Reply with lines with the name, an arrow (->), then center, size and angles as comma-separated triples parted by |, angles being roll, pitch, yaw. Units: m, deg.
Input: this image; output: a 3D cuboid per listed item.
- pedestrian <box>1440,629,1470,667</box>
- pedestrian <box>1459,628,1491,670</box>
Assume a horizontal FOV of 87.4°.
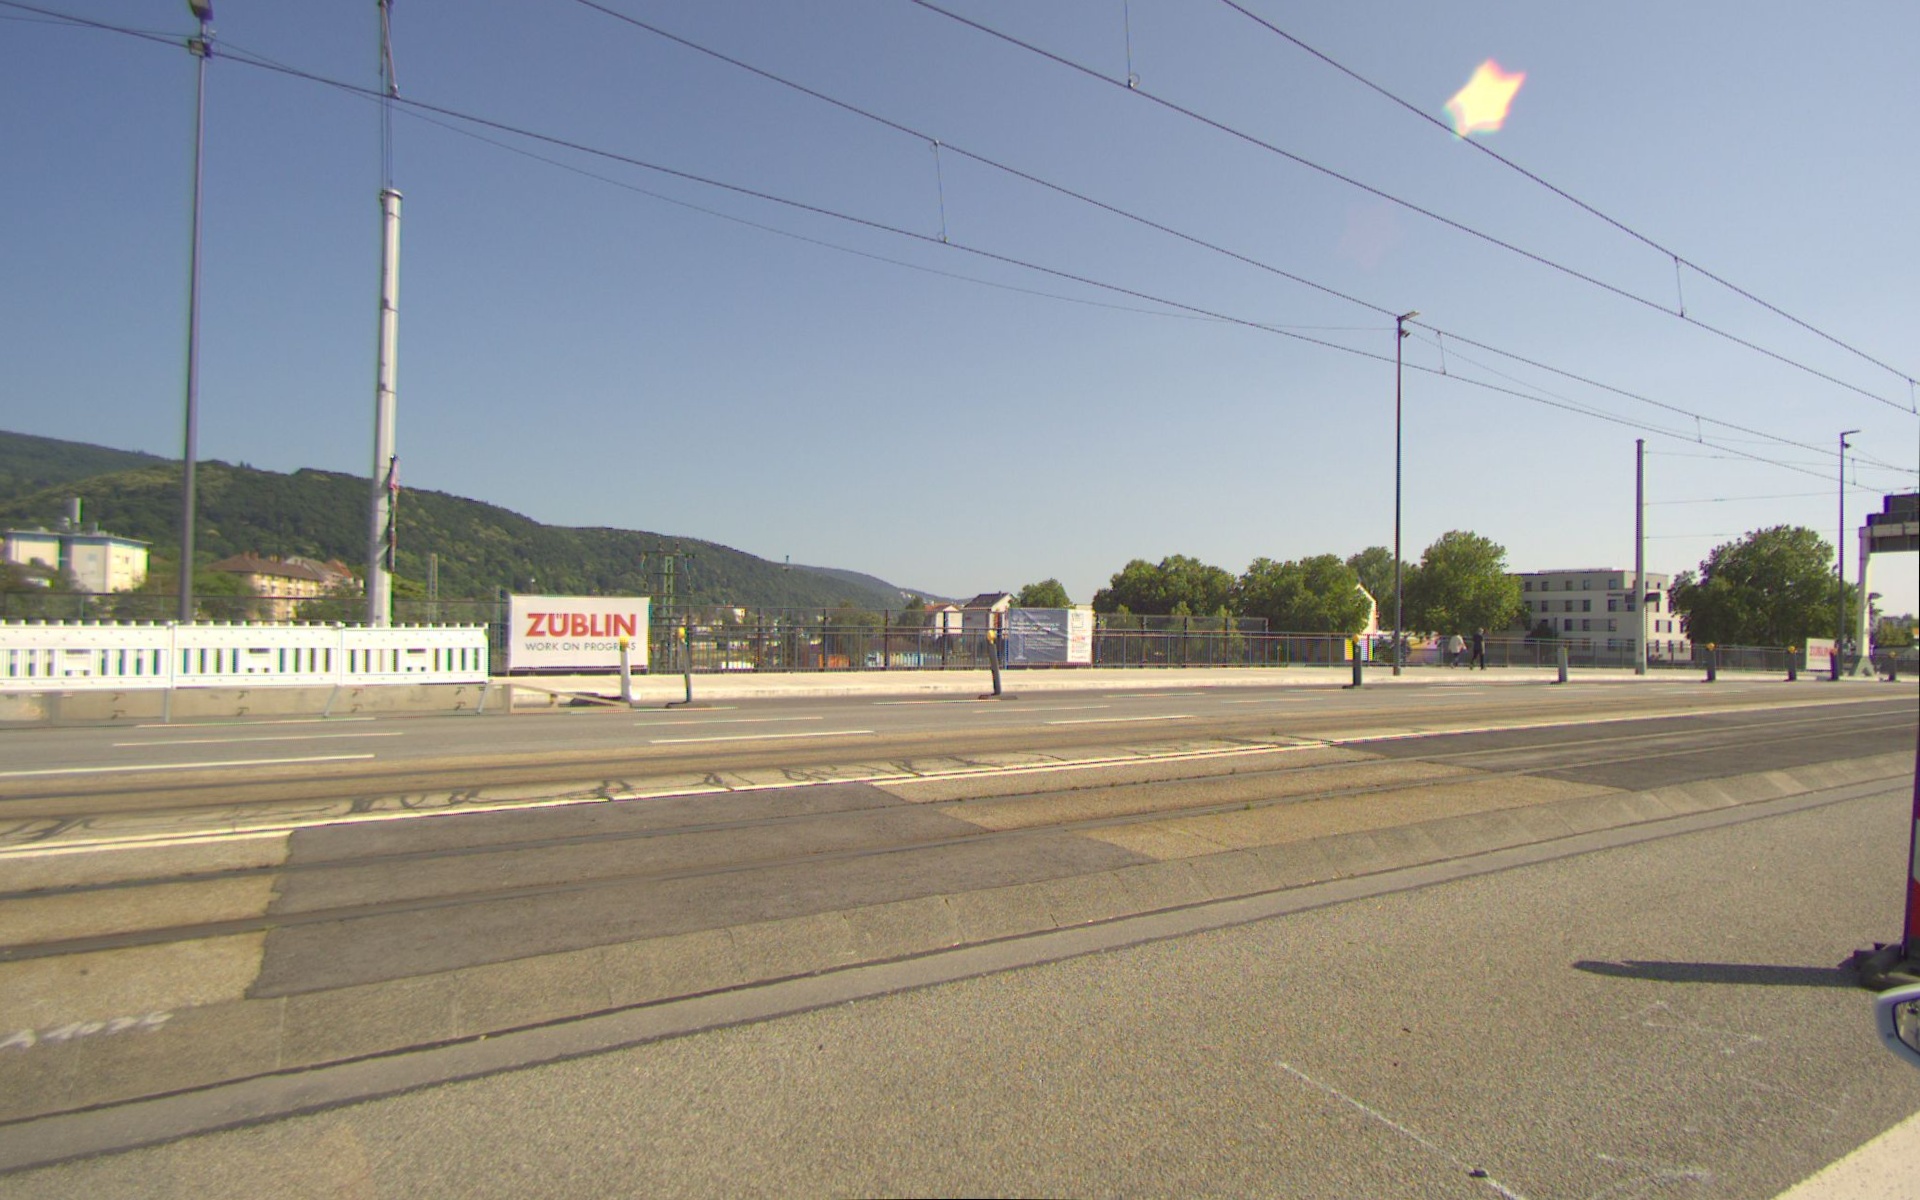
pedestrian -> 20.794, 2.013, 42.199 | 0.878, 1.565, 0.716 | 2, 1, -30
pedestrian -> 21.199, 1.999, 41.338 | 0.884, 1.663, 0.740 | 2, 1, -30
